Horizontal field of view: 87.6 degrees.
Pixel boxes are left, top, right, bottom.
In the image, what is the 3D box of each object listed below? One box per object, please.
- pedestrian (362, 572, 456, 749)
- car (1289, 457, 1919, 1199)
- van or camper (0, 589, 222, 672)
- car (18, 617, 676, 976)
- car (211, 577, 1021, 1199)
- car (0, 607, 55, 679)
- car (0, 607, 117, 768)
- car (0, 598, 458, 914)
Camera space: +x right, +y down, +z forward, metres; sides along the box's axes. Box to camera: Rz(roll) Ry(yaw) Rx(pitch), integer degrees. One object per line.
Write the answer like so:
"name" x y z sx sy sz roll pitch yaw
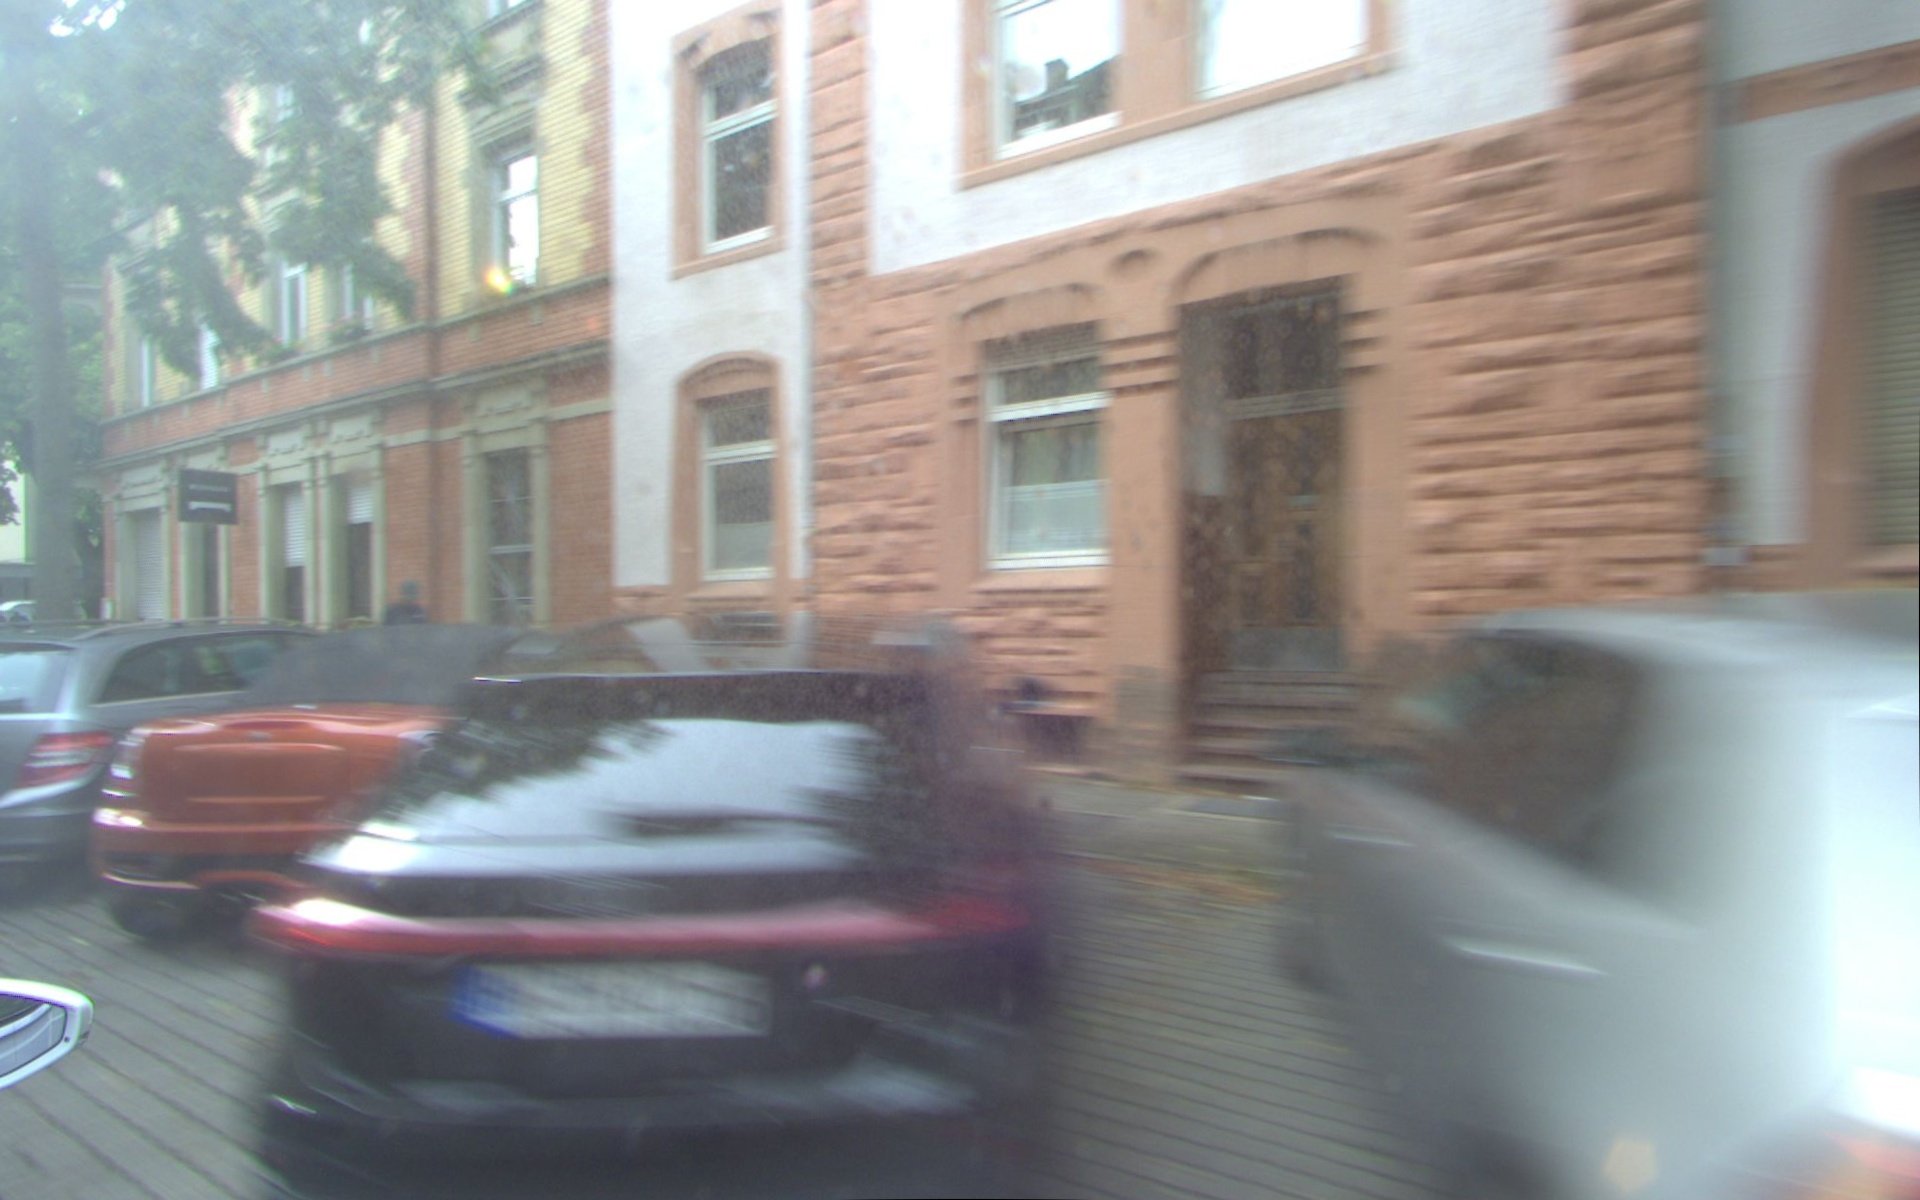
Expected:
"pedestrian" -5.705 0.610 10.369 0.654 1.756 0.596 0 0 31
"car" 1.961 0.715 2.390 1.752 1.583 3.468 0 -1 10
"van or camper" -28.759 0.963 33.910 2.109 2.528 5.747 3 2 39
"car" -3.046 0.835 6.039 1.712 1.454 3.884 0 -1 -3
"car" -0.673 0.727 3.910 1.672 1.485 3.694 0 -1 1
"car" -26.123 1.138 26.974 3.946 1.843 1.765 -1 0 35
"car" -11.035 0.879 10.760 4.416 1.506 1.760 -1 1 33
"car" -5.302 0.751 6.884 1.724 1.446 4.442 -2 1 -5
